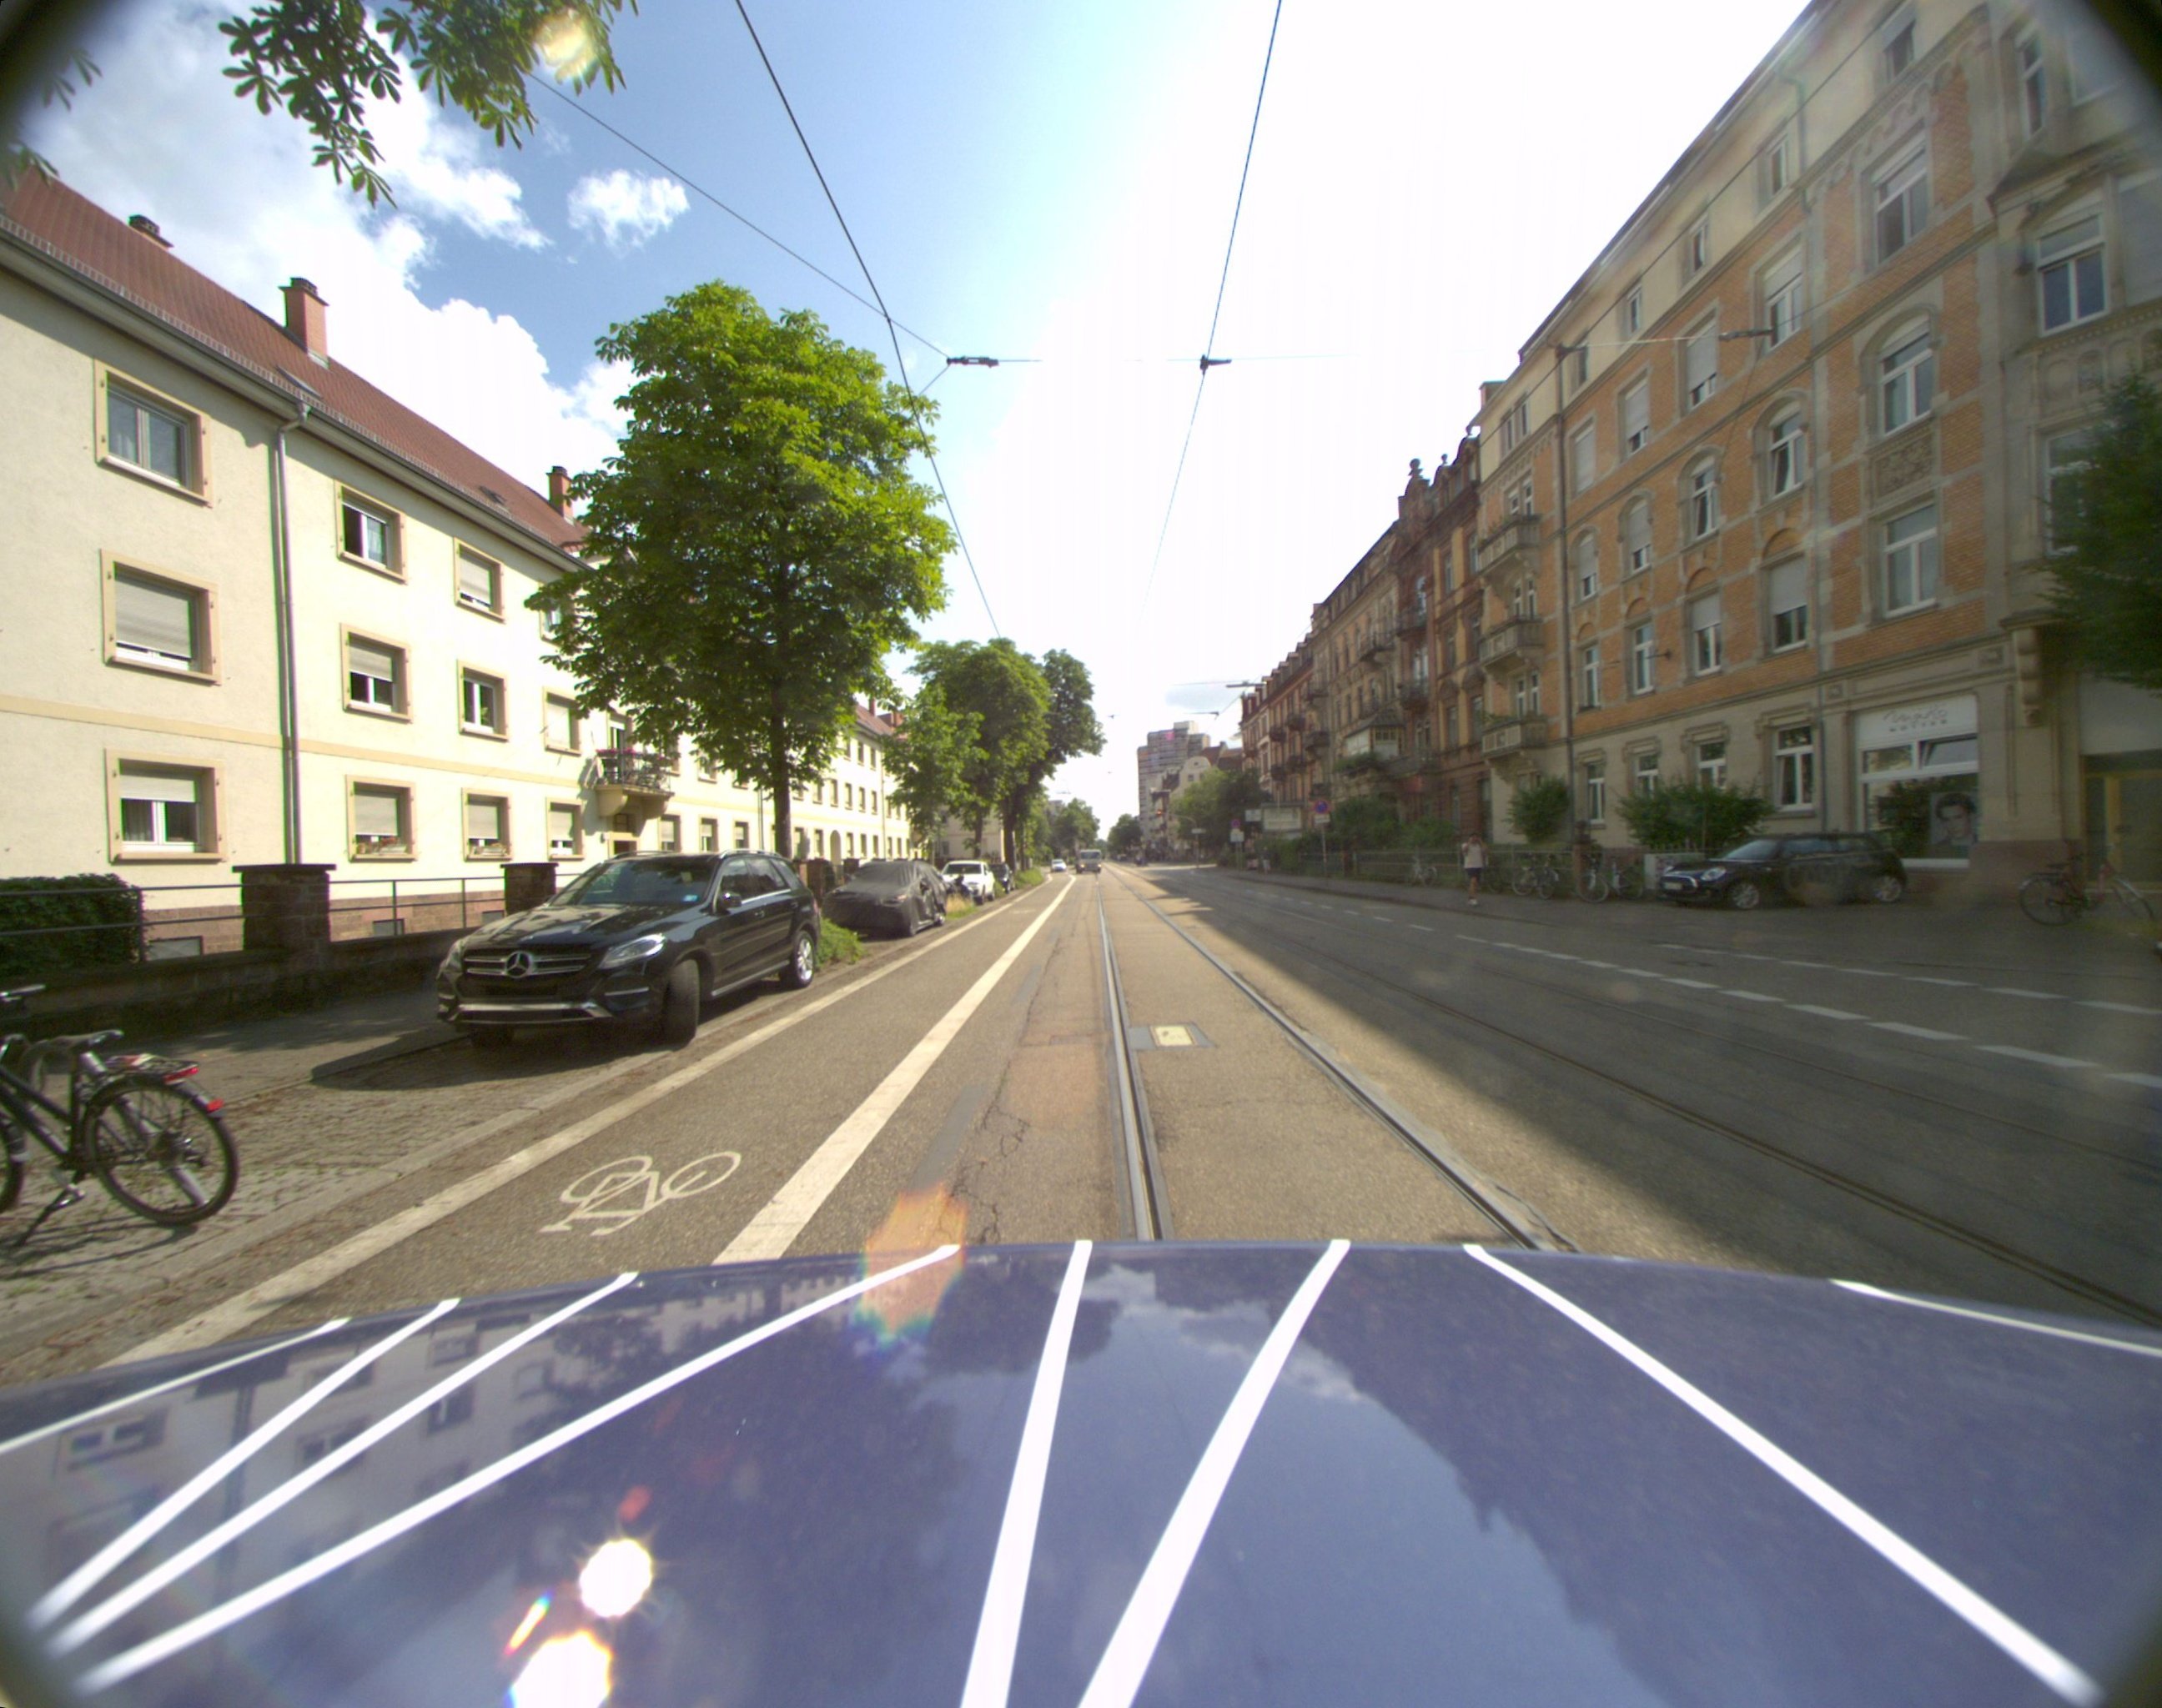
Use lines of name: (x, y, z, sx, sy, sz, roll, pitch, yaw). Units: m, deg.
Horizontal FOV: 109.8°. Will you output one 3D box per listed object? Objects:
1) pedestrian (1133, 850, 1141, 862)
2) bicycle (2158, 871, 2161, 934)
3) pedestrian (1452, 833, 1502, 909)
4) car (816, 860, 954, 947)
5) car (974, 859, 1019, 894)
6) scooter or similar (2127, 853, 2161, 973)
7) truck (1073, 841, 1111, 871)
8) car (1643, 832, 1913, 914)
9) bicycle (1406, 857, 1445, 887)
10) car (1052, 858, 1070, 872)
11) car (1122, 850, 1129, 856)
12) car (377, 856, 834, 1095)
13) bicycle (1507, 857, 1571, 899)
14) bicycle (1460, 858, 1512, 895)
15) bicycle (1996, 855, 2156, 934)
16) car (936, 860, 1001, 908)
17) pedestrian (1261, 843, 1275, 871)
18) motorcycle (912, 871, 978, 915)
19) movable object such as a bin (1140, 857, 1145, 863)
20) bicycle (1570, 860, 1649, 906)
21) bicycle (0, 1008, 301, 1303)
pedestrian: (7.309, 0.299, 98.692, 0.783, 1.565, 0.692, -2, 0, -13)
bicycle: (14.269, 0.633, 9.137, 0.524, 0.833, 1.700, -2, 0, 14)
pedestrian: (9.563, 0.396, 18.374, 0.534, 1.750, 1.105, -4, 1, 1)
car: (-4.378, 1.028, 17.796, 1.867, 1.643, 4.638, -2, 0, 2)
car: (-4.094, 1.060, 37.556, 1.665, 1.512, 4.287, -2, 0, 0)
scooter or similar: (12.214, 0.635, 8.491, 1.367, 1.228, 0.403, -3, 1, -27)
truck: (0.943, 0.208, 72.324, 2.533, 2.722, 6.510, -2, 0, -8)
car: (13.794, 0.369, 15.242, 3.611, 1.395, 1.787, -3, 0, 5)
bicycle: (11.684, 0.595, 25.830, 0.422, 0.927, 1.949, -2, 0, 1)
car: (-2.370, 1.239, 89.375, 1.751, 1.471, 3.654, -4, 0, 3)
car: (12.702, -0.273, 216.325, 1.841, 1.482, 3.892, -2, 0, 1)
car: (-4.399, 0.939, 8.168, 1.831, 1.772, 4.733, -2, 0, 1)
bicycle: (11.470, 0.581, 19.103, 0.422, 0.971, 1.949, -2, 0, 1)
bicycle: (11.471, 0.604, 21.578, 0.422, 0.971, 1.949, -2, 0, 1)
bicycle: (14.483, 0.577, 11.073, 1.759, 1.057, 0.524, -2, 0, -4)
car: (-4.190, 1.079, 28.821, 1.746, 1.571, 4.248, -2, 0, 0)
pedestrian: (11.250, 0.176, 45.697, 0.489, 1.693, 1.151, -2, 1, -1)
motorcycle: (-4.414, 1.258, 24.785, 2.012, 1.329, 0.747, -2, 1, -3)
movable object such as a bin: (8.004, 0.793, 99.339, 0.513, 0.713, 0.457, -2, 0, -13)
bicycle: (11.817, 0.636, 17.018, 1.456, 0.971, 0.404, -2, 0, 1)
bicycle: (-4.544, 1.248, 3.267, 1.712, 1.001, 0.638, -2, 1, 1)
